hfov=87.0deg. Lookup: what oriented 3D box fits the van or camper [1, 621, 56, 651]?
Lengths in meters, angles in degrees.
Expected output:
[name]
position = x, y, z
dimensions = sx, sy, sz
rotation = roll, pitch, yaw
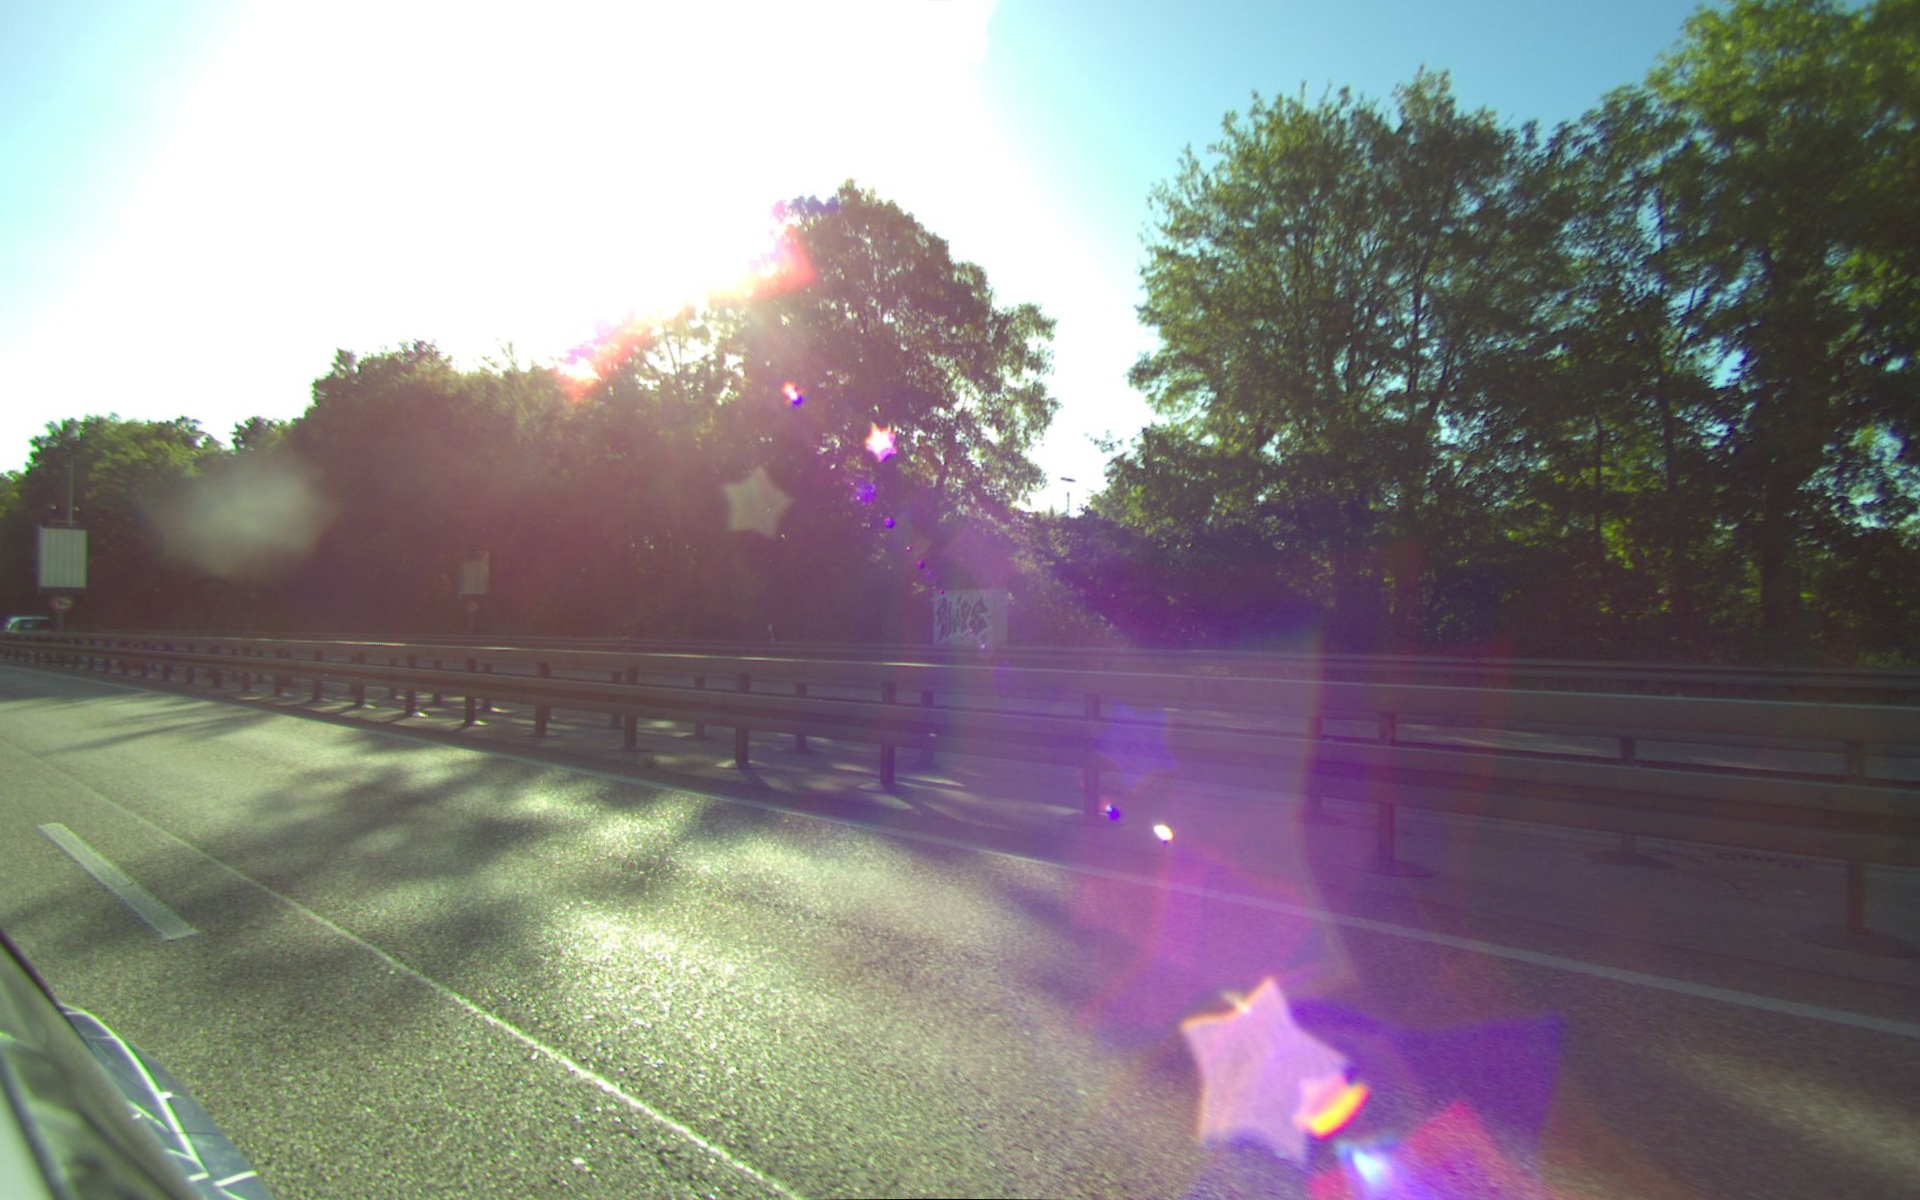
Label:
[van or camper]
position = -56.125, 2.144, 60.978
dimensions = 4.282, 1.779, 1.853
rotation = -1, -2, 39
